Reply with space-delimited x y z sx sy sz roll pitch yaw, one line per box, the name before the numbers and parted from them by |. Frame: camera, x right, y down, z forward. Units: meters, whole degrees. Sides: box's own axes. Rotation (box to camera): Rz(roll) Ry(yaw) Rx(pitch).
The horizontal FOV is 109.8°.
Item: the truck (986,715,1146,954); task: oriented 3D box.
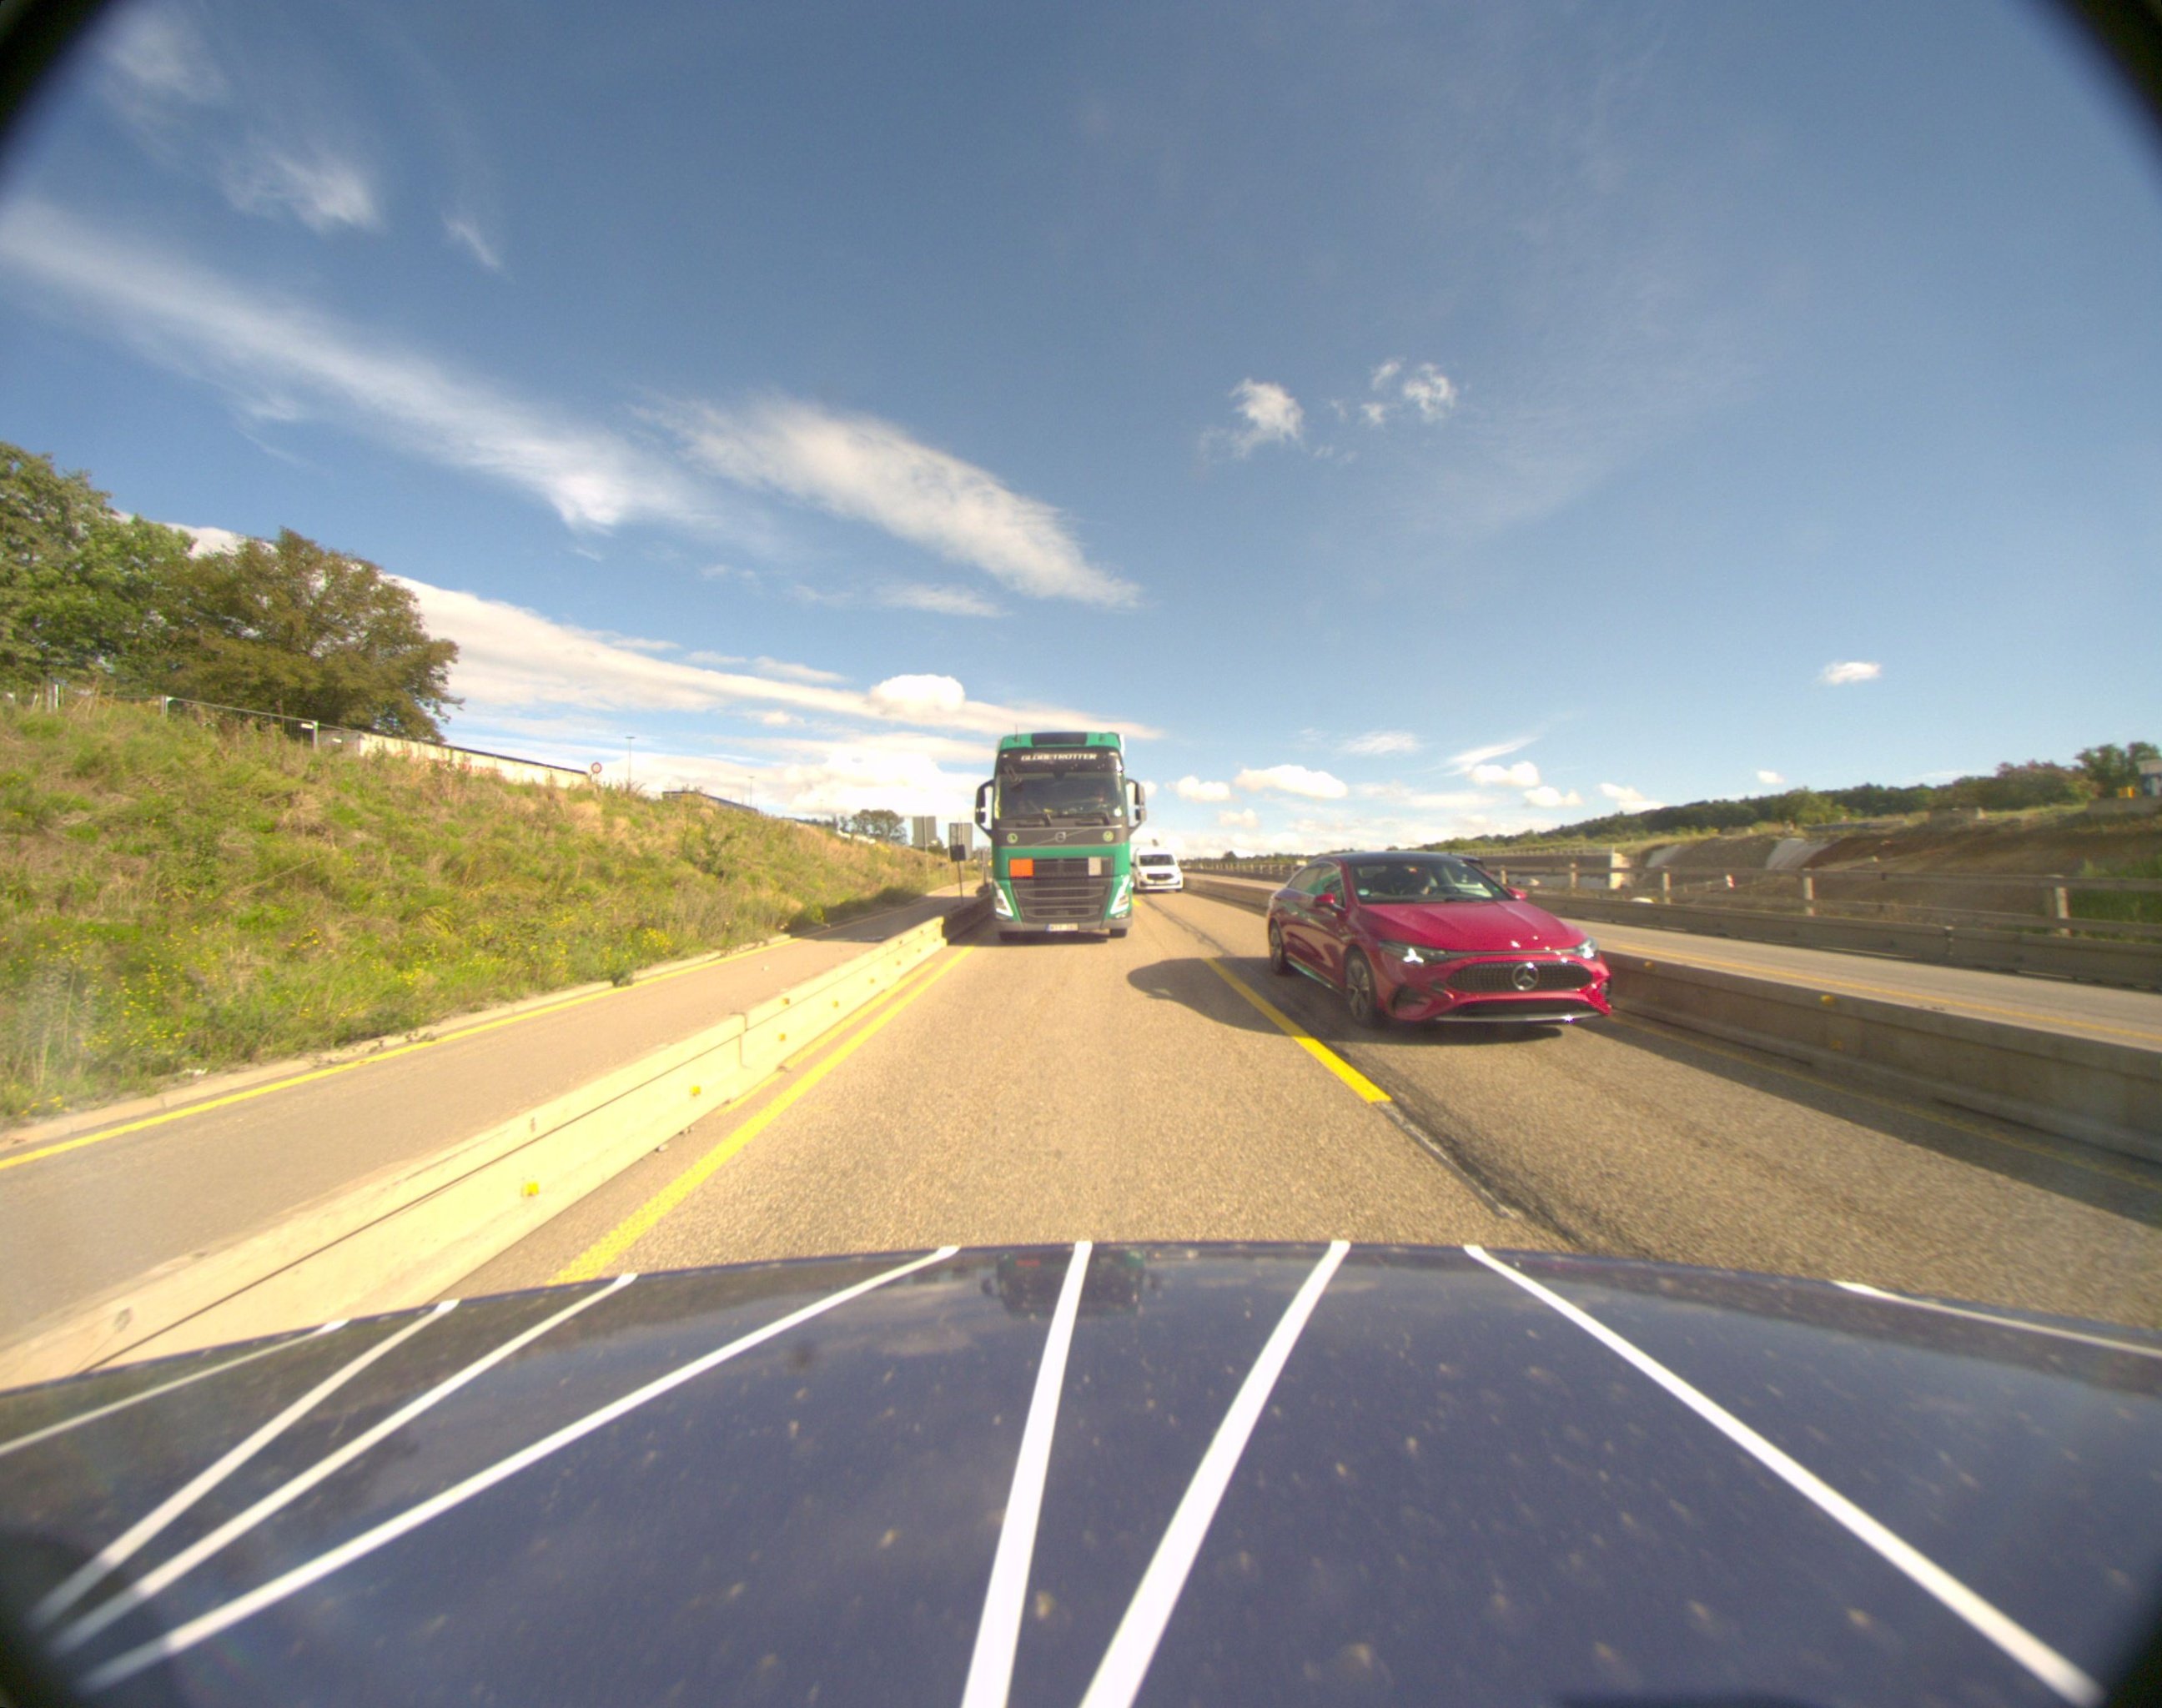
truck | -0.259 -0.345 16.697 2.546 3.899 8.278 -1 0 0
